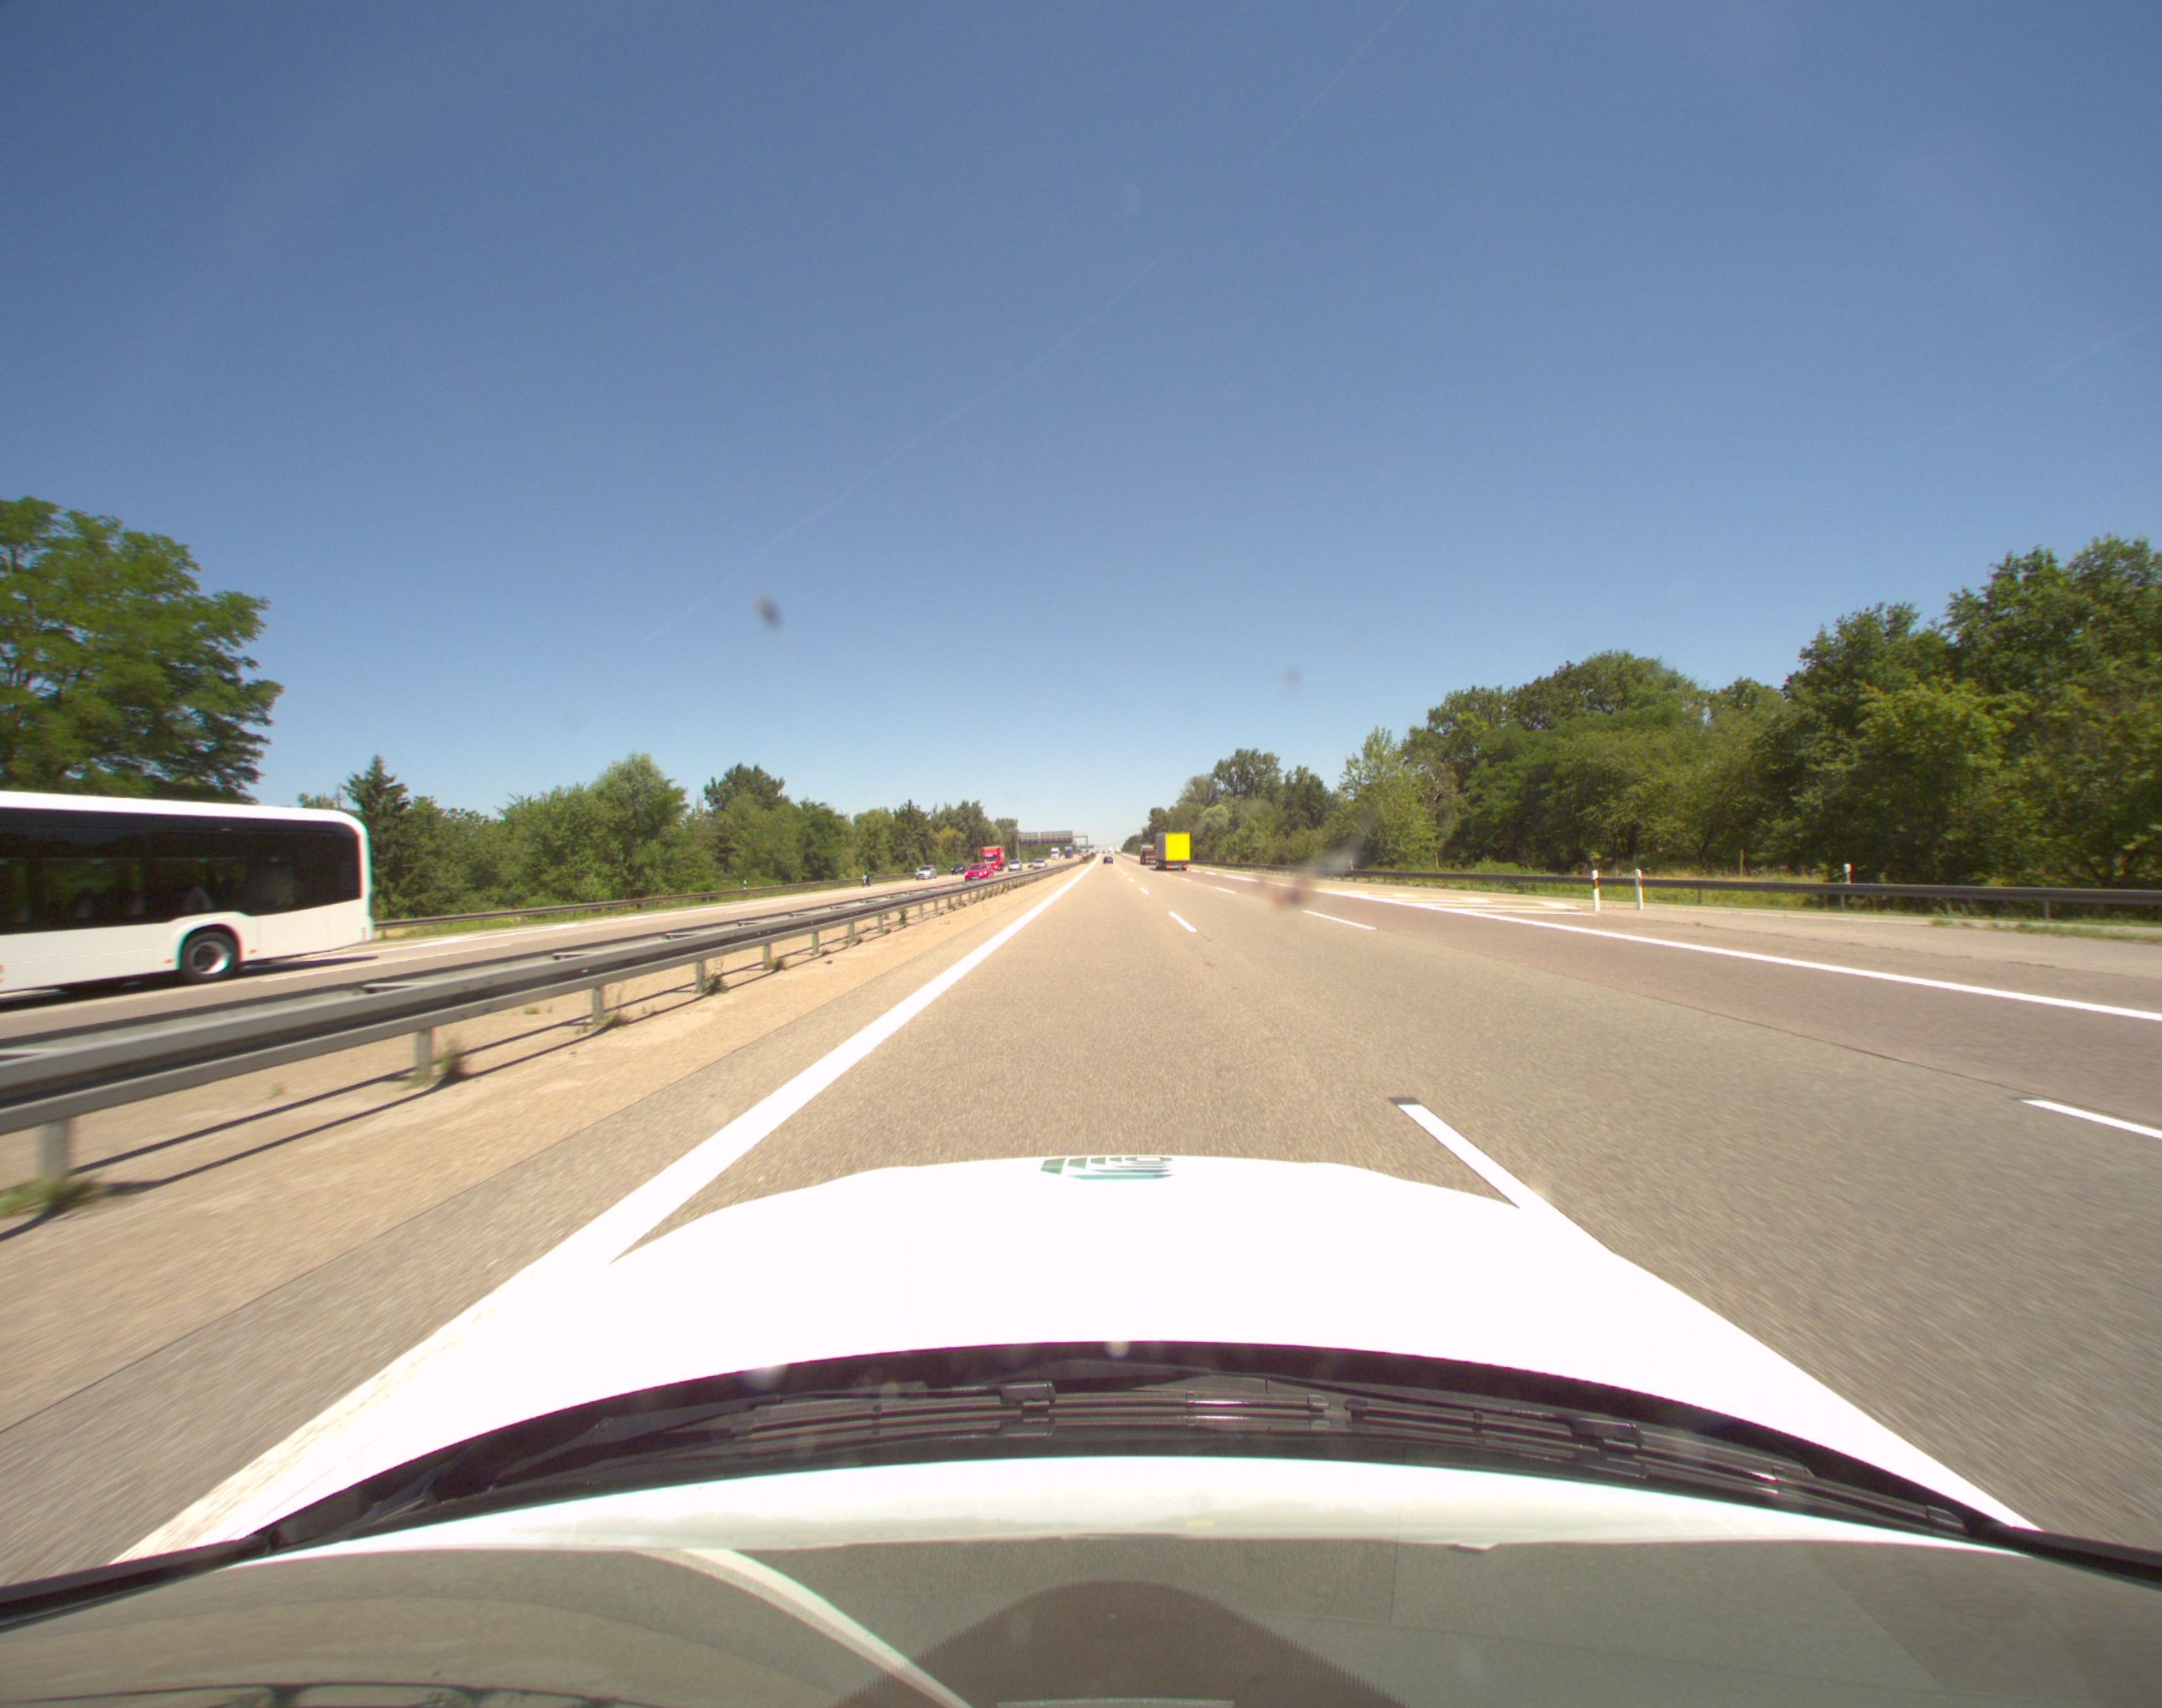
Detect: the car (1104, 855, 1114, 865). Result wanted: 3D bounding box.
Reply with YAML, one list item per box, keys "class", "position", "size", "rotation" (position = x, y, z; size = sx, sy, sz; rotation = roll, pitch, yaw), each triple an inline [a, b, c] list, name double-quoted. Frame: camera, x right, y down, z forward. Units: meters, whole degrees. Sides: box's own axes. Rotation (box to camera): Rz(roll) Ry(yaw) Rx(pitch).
- class: "car"
  position: [5.207, 1.100, 152.090]
  size: [1.820, 1.706, 4.001]
  rotation: [-1, 0, 1]

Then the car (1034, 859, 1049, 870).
- class: "car"
  position: [-5.900, 1.501, 121.370]
  size: [1.802, 1.504, 4.001]
  rotation: [-2, 0, 2]

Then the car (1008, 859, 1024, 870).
- class: "car"
  position: [-9.400, 1.511, 117.503]
  size: [1.802, 1.504, 4.001]
  rotation: [-2, 0, 2]

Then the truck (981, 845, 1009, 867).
- class: "truck"
  position: [-13.270, 0.388, 126.865]
  size: [2.588, 3.212, 12.129]
  rotation: [-1, 0, 2]

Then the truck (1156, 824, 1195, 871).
- class: "truck"
  position: [10.560, -0.655, 92.538]
  size: [3.363, 4.881, 15.094]
  rotation: [-1, 0, 3]

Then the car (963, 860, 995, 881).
- class: "car"
  position: [-7.749, 1.245, 62.152]
  size: [1.802, 1.504, 4.001]
  rotation: [-2, 0, 2]

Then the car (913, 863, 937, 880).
- class: "car"
  position: [-17.930, 1.996, 93.971]
  size: [1.802, 1.772, 4.001]
  rotation: [-2, 0, 2]

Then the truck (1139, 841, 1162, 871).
- class: "truck"
  position: [12.007, 0.349, 142.824]
  size: [3.353, 4.881, 15.094]
  rotation: [-1, 0, 3]

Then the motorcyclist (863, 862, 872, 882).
- class: "motorcyclist"
  position: [-19.684, 1.672, 75.177]
  size: [0.600, 1.871, 0.621]
  rotation: [-1, -1, 6]

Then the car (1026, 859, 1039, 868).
- class: "car"
  position: [-8.562, 1.678, 143.779]
  size: [1.802, 1.504, 4.001]
  rotation: [-2, 0, 2]

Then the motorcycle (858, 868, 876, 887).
- class: "motorcycle"
  position: [-19.686, 2.144, 75.032]
  size: [0.612, 1.640, 2.841]
  rotation: [-1, 0, 6]

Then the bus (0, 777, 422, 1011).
- class: "bus"
  position: [-17.273, 0.651, 14.415]
  size: [2.754, 3.447, 10.146]
  rotation: [-2, 0, 1]

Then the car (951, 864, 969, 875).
- class: "car"
  position: [-17.532, 2.193, 118.162]
  size: [1.802, 1.504, 4.001]
  rotation: [-2, 0, 2]
